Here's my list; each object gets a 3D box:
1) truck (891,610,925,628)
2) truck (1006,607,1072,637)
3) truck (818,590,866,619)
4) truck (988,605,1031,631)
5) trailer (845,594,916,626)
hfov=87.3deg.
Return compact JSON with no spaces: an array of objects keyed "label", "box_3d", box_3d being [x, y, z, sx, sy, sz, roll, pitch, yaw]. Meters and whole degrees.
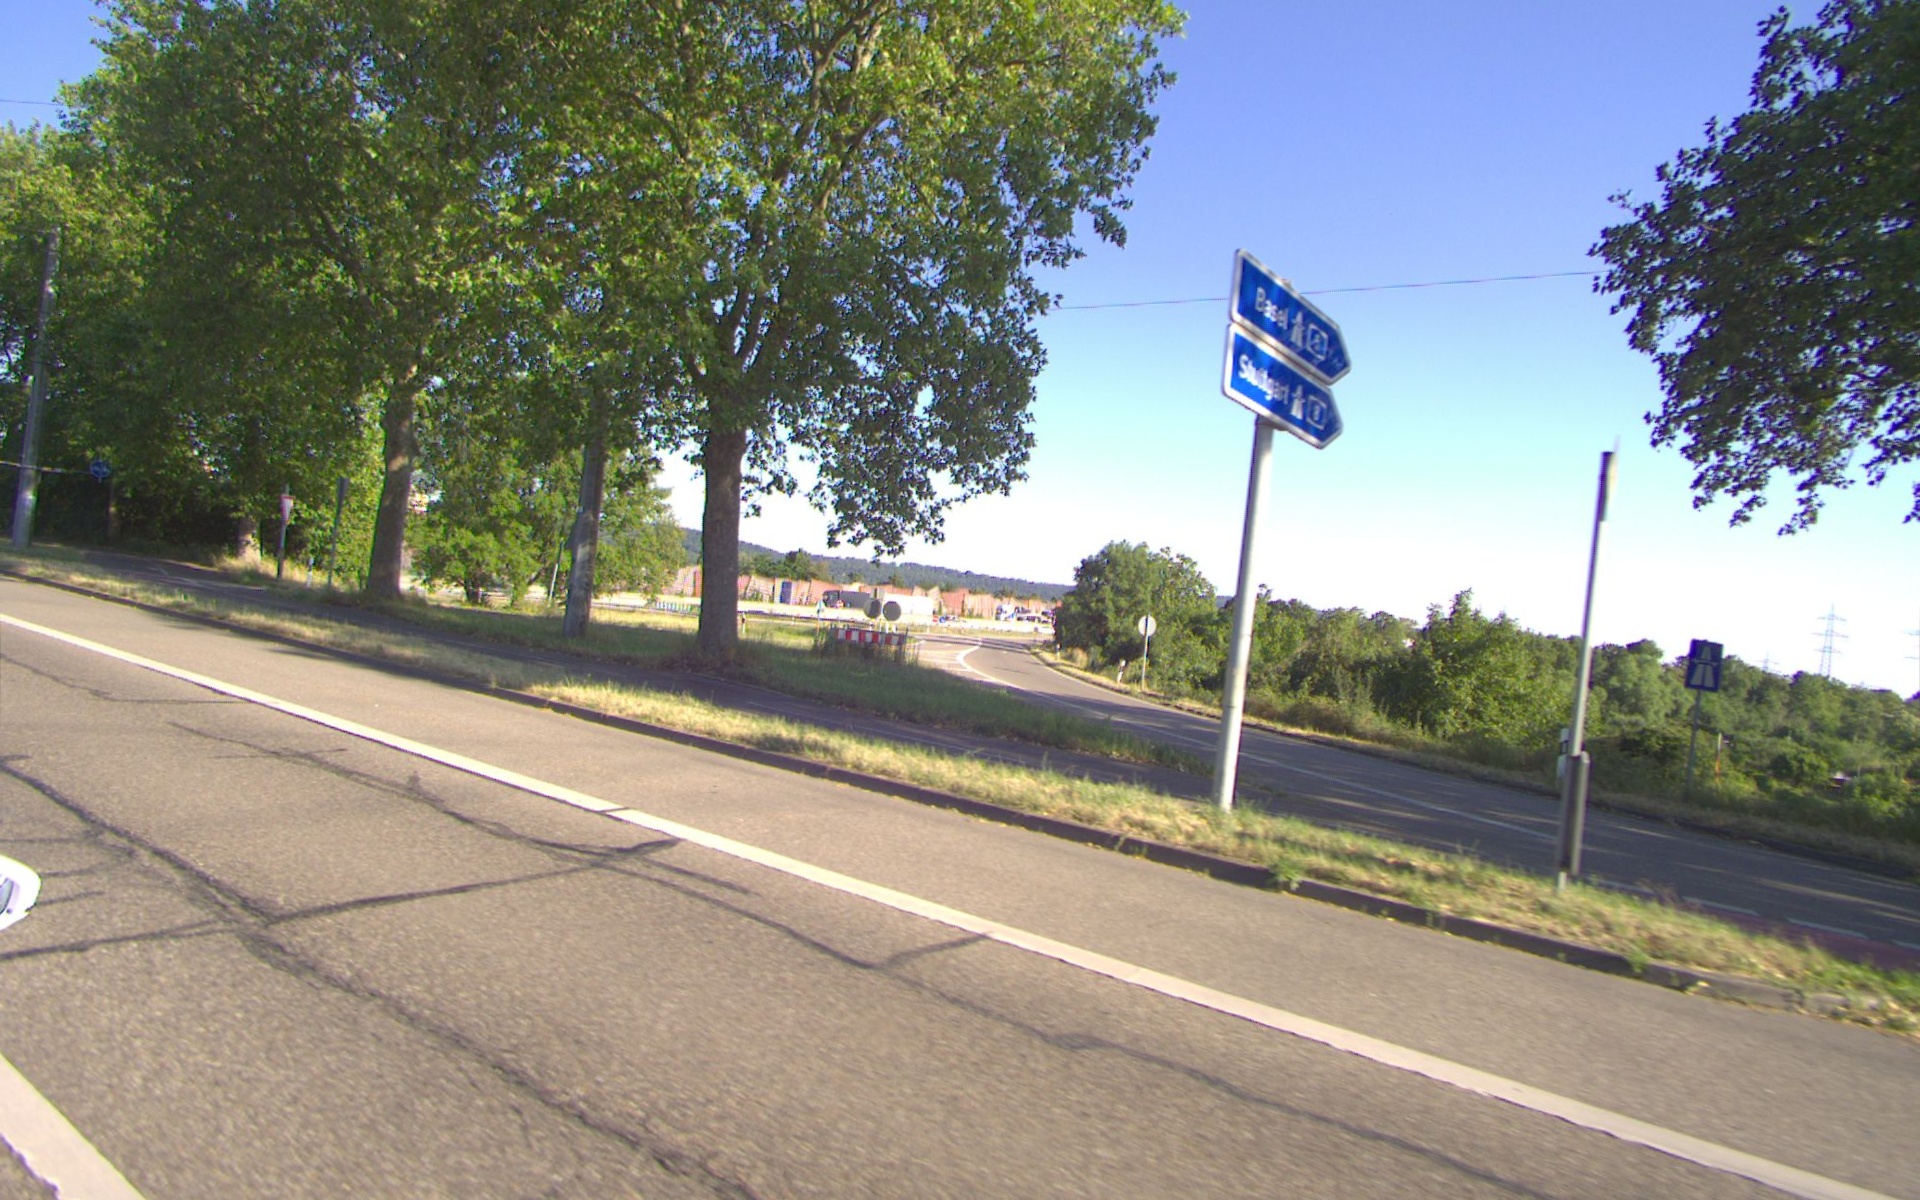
[{"label":"truck","box_3d":[-9.493,3.398,183.773,5.771,2.459,1.987,9,-2,-28]},{"label":"truck","box_3d":[15.296,4.287,193.590,12.831,3.882,3.113,9,-3,-28]},{"label":"truck","box_3d":[-20.433,0.763,174.432,7.260,3.882,3.113,9,-2,-28]},{"label":"truck","box_3d":[9.385,3.325,190.417,7.260,3.882,3.113,9,-2,-28]},{"label":"trailer","box_3d":[-14.074,1.801,177.850,11.933,3.882,3.113,9,-2,-28]}]
